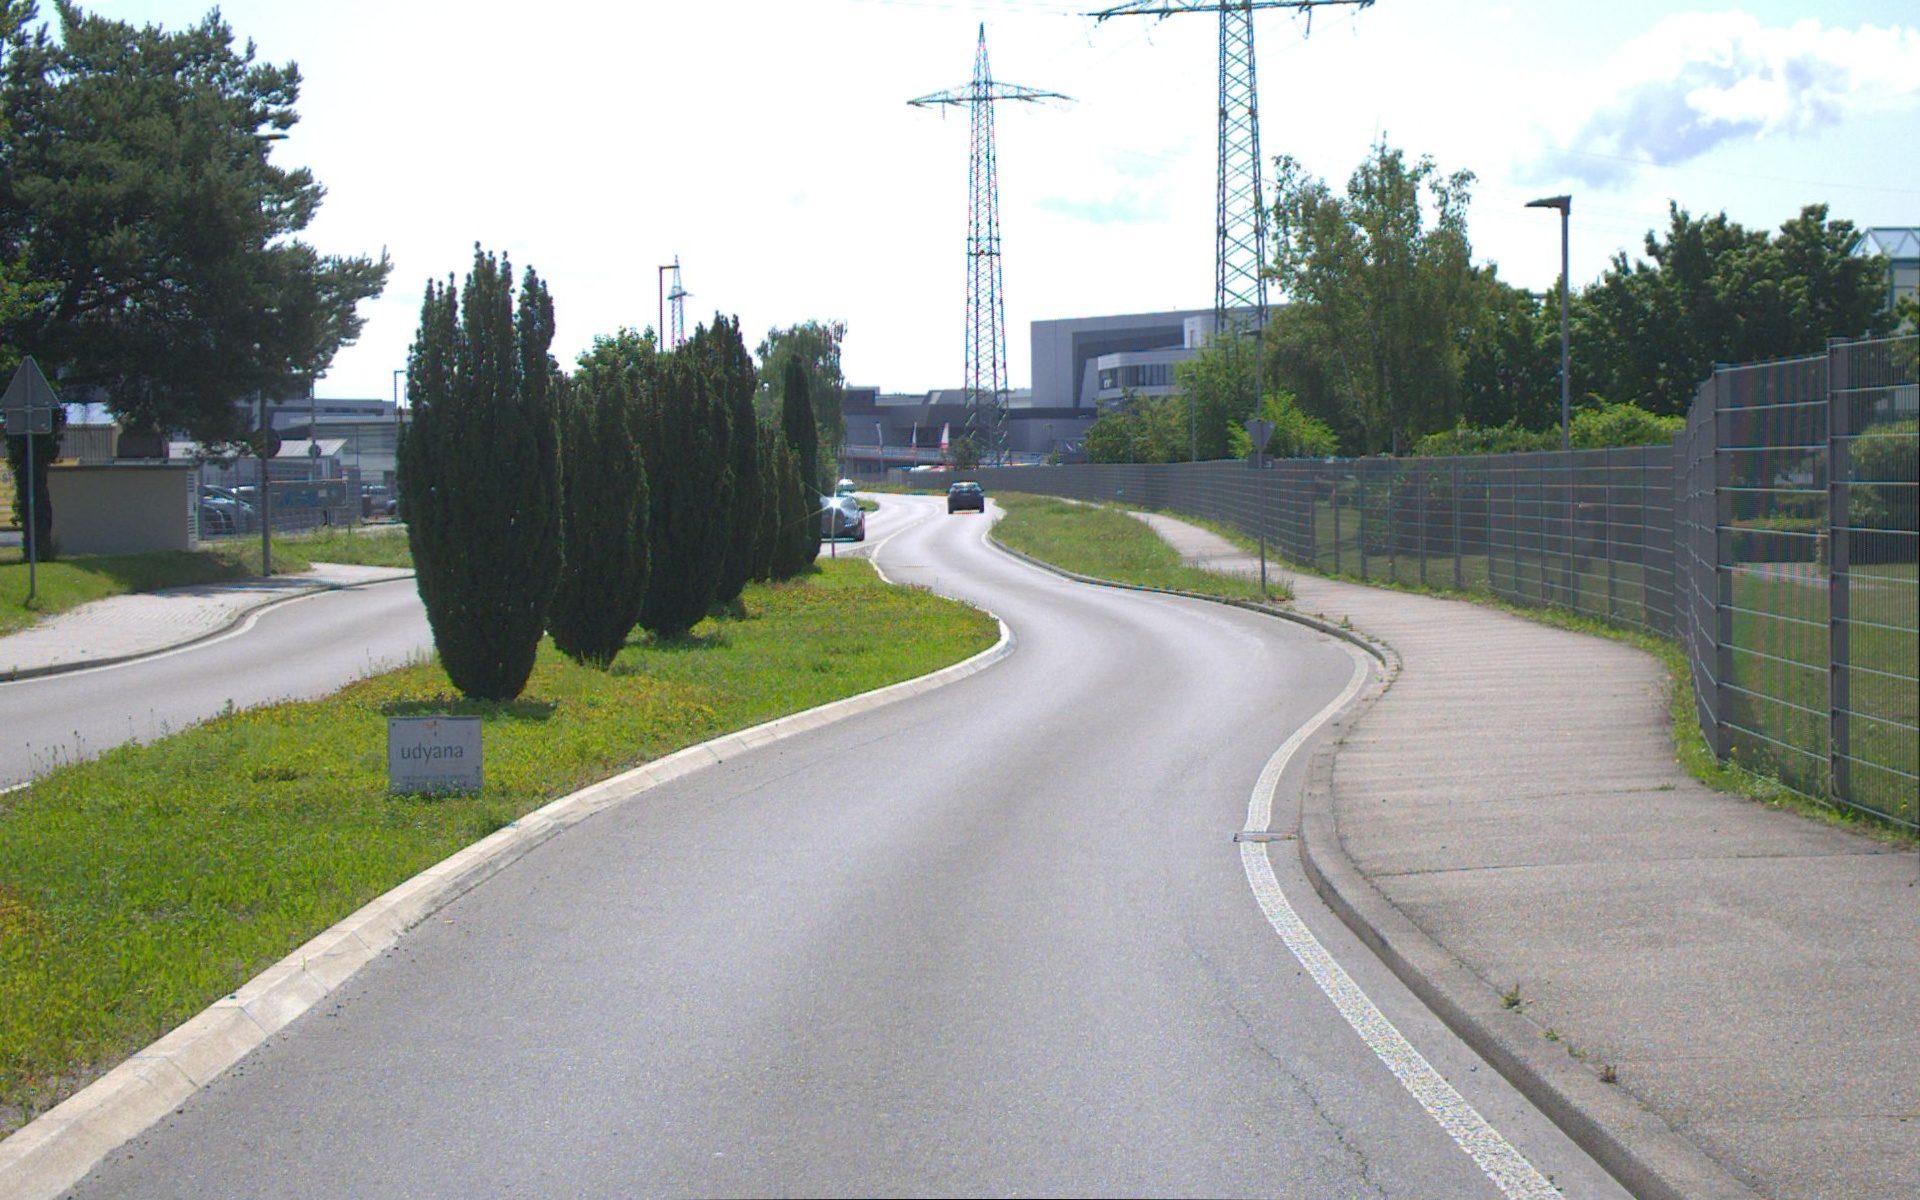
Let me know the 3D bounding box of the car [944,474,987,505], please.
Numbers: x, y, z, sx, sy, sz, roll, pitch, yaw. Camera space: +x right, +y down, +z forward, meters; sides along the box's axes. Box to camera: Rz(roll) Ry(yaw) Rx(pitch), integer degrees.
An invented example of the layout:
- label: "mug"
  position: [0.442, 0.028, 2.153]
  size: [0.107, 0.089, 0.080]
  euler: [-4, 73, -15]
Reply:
- label: "car"
  position: [0.254, -5.490, 171.563]
  size: [2.012, 1.503, 4.001]
  euler: [-1, 1, -2]

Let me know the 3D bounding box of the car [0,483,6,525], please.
- label: "car"
  position: [-35.612, -3.447, 122.608]
  size: [1.993, 1.481, 4.248]
  euler: [-1, 3, -30]

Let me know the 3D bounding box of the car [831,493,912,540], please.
- label: "car"
  position: [-2.772, -2.647, 108.625]
  size: [1.899, 1.389, 4.864]
  euler: [0, 2, 7]
